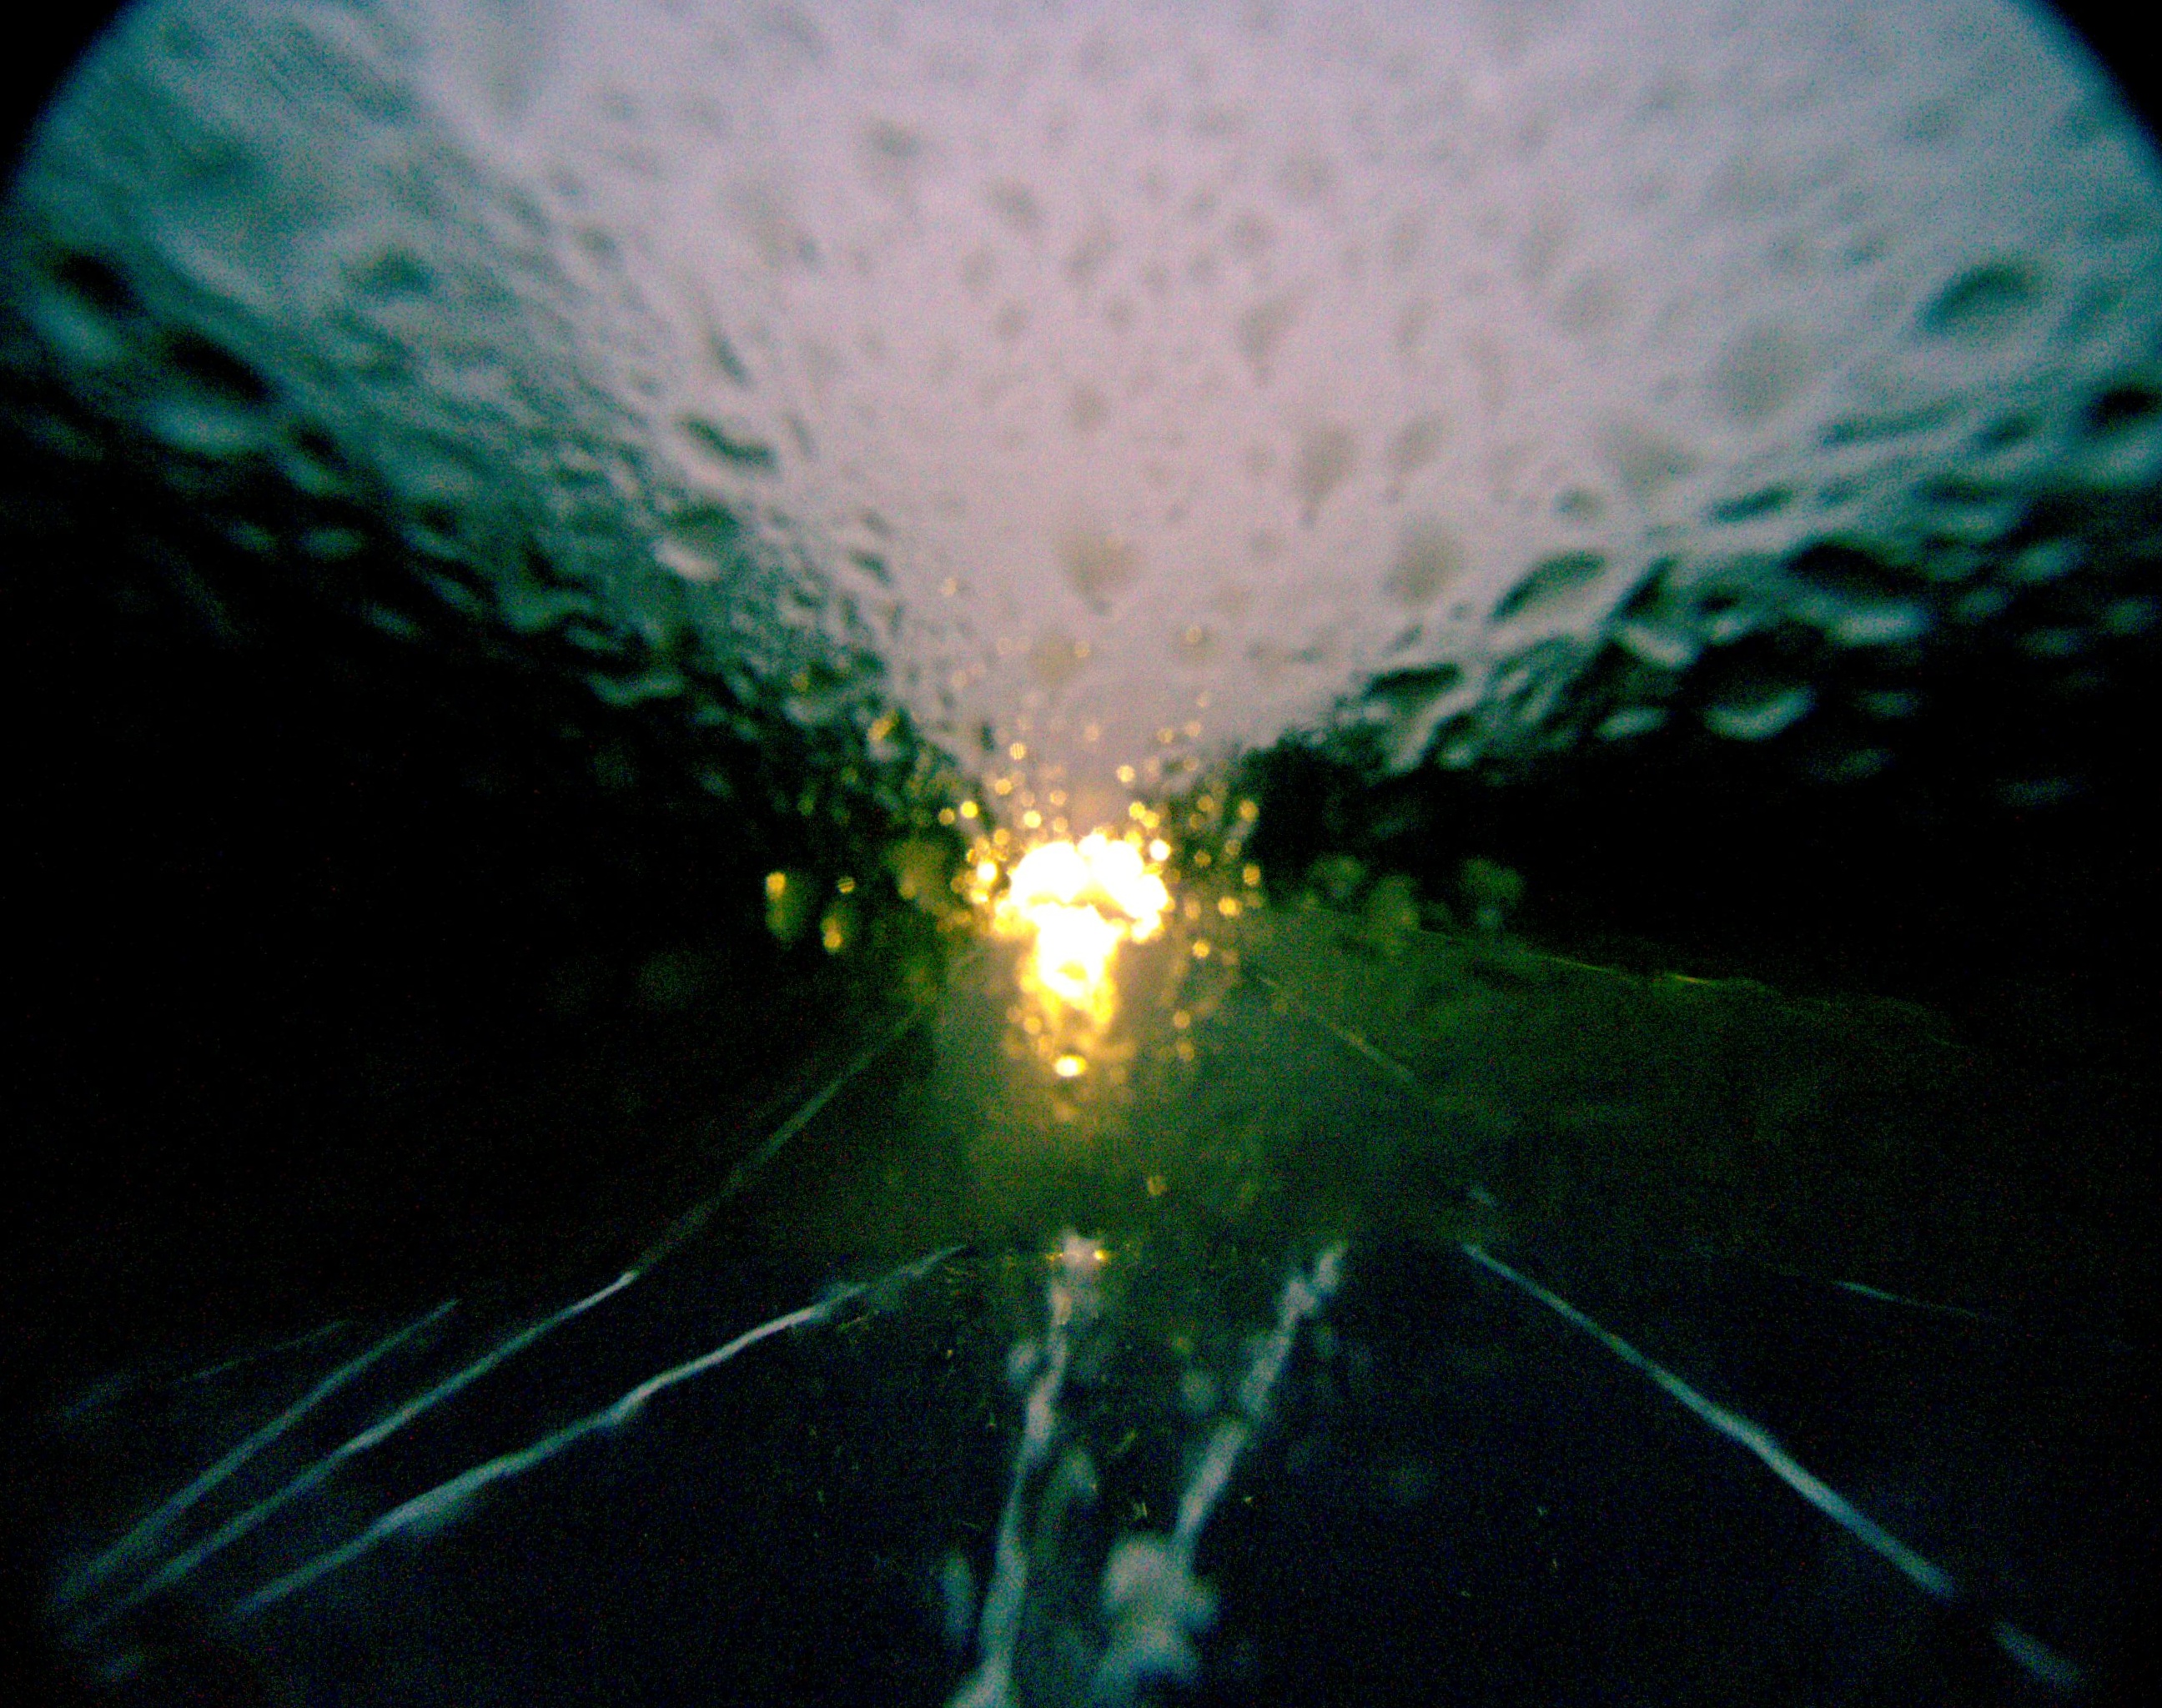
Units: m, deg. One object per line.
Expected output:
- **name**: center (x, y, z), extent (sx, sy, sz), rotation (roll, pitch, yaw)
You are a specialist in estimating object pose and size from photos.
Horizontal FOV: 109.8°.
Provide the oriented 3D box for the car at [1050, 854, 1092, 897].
- **car**: center (-0.356, 0.882, 32.372), extent (1.573, 1.701, 4.001), rotation (-1, 0, 2)
